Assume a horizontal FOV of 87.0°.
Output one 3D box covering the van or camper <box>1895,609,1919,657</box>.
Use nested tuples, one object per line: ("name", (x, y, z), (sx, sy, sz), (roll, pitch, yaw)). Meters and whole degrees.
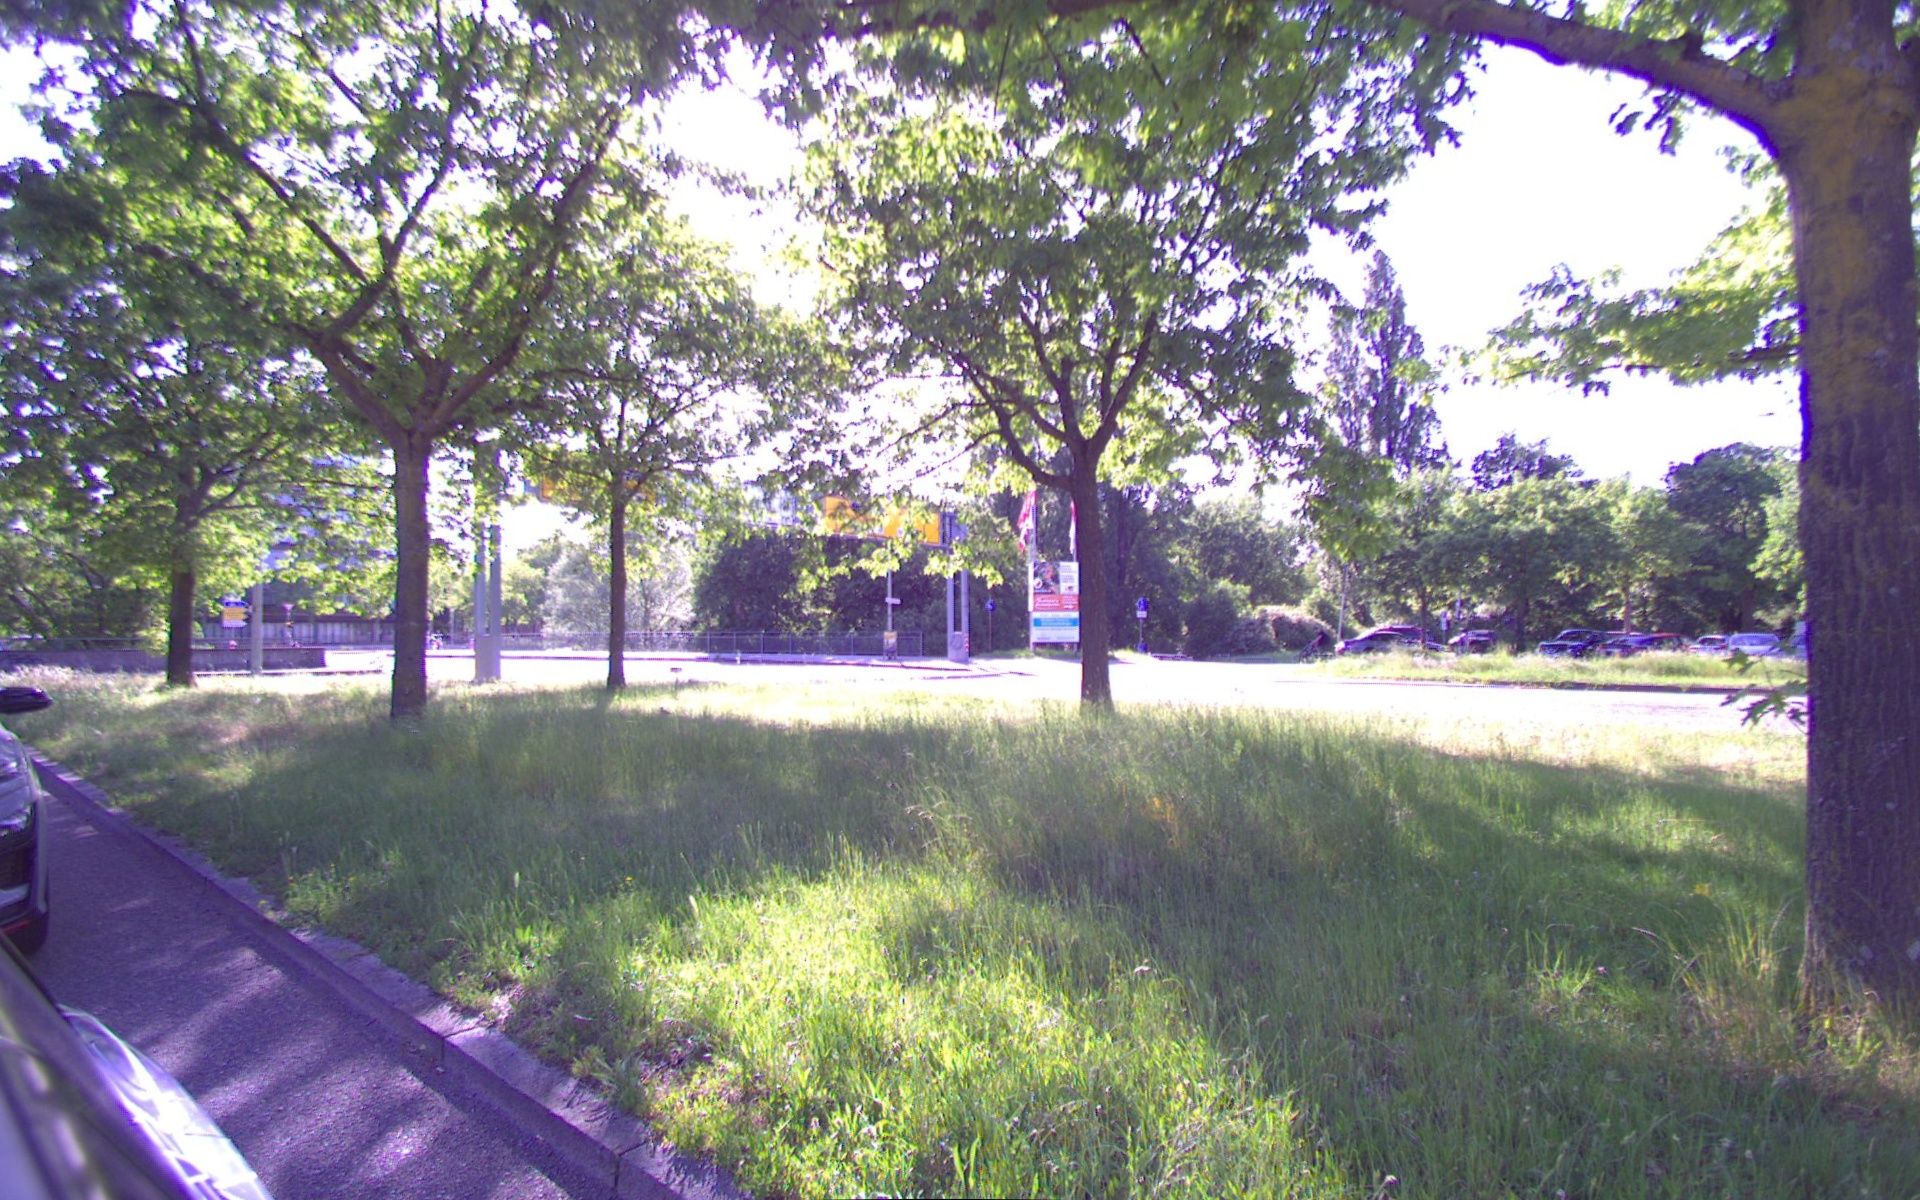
("van or camper", (44.465, 1.444, 44.553), (1.966, 2.112, 4.414), (1, -2, -32))

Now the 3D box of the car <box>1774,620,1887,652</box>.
("car", (43.395, 1.807, 50.505), (1.969, 1.521, 4.005), (1, -2, -41))

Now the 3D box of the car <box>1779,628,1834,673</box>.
("car", (35.807, 2.089, 42.784), (1.653, 1.618, 3.832), (-2, 1, 42))

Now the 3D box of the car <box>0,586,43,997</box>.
("car", (-5.634, 0.767, 4.646), (3.980, 1.563, 1.756), (-2, -2, 43))

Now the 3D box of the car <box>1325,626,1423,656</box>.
("car", (22.147, 2.199, 54.341), (4.509, 1.475, 1.993), (-1, 0, 12))

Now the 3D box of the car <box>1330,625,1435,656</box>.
("car", (21.156, 2.018, 50.850), (4.509, 1.475, 1.993), (-1, 0, 12))

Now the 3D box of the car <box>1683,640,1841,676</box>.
("car", (26.719, 1.906, 33.889), (3.990, 1.137, 1.800), (-2, -2, 35))

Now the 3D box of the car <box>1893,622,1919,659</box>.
("car", (42.614, 1.706, 42.947), (1.936, 1.484, 4.011), (-2, -1, -33))

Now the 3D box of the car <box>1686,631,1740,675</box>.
("car", (33.102, 2.280, 44.459), (1.653, 1.618, 3.834), (-2, 1, 40))

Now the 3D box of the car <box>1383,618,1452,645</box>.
("car", (32.443, 2.237, 71.767), (4.126, 1.814, 1.976), (-2, -2, 35))

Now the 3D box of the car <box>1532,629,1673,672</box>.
("car", (23.628, 1.826, 37.350), (1.791, 1.459, 4.012), (0, -2, -30))

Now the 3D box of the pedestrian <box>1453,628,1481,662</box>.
("pedestrian", (22.049, 1.951, 43.992), (0.873, 1.429, 0.988), (-2, -2, 41))
